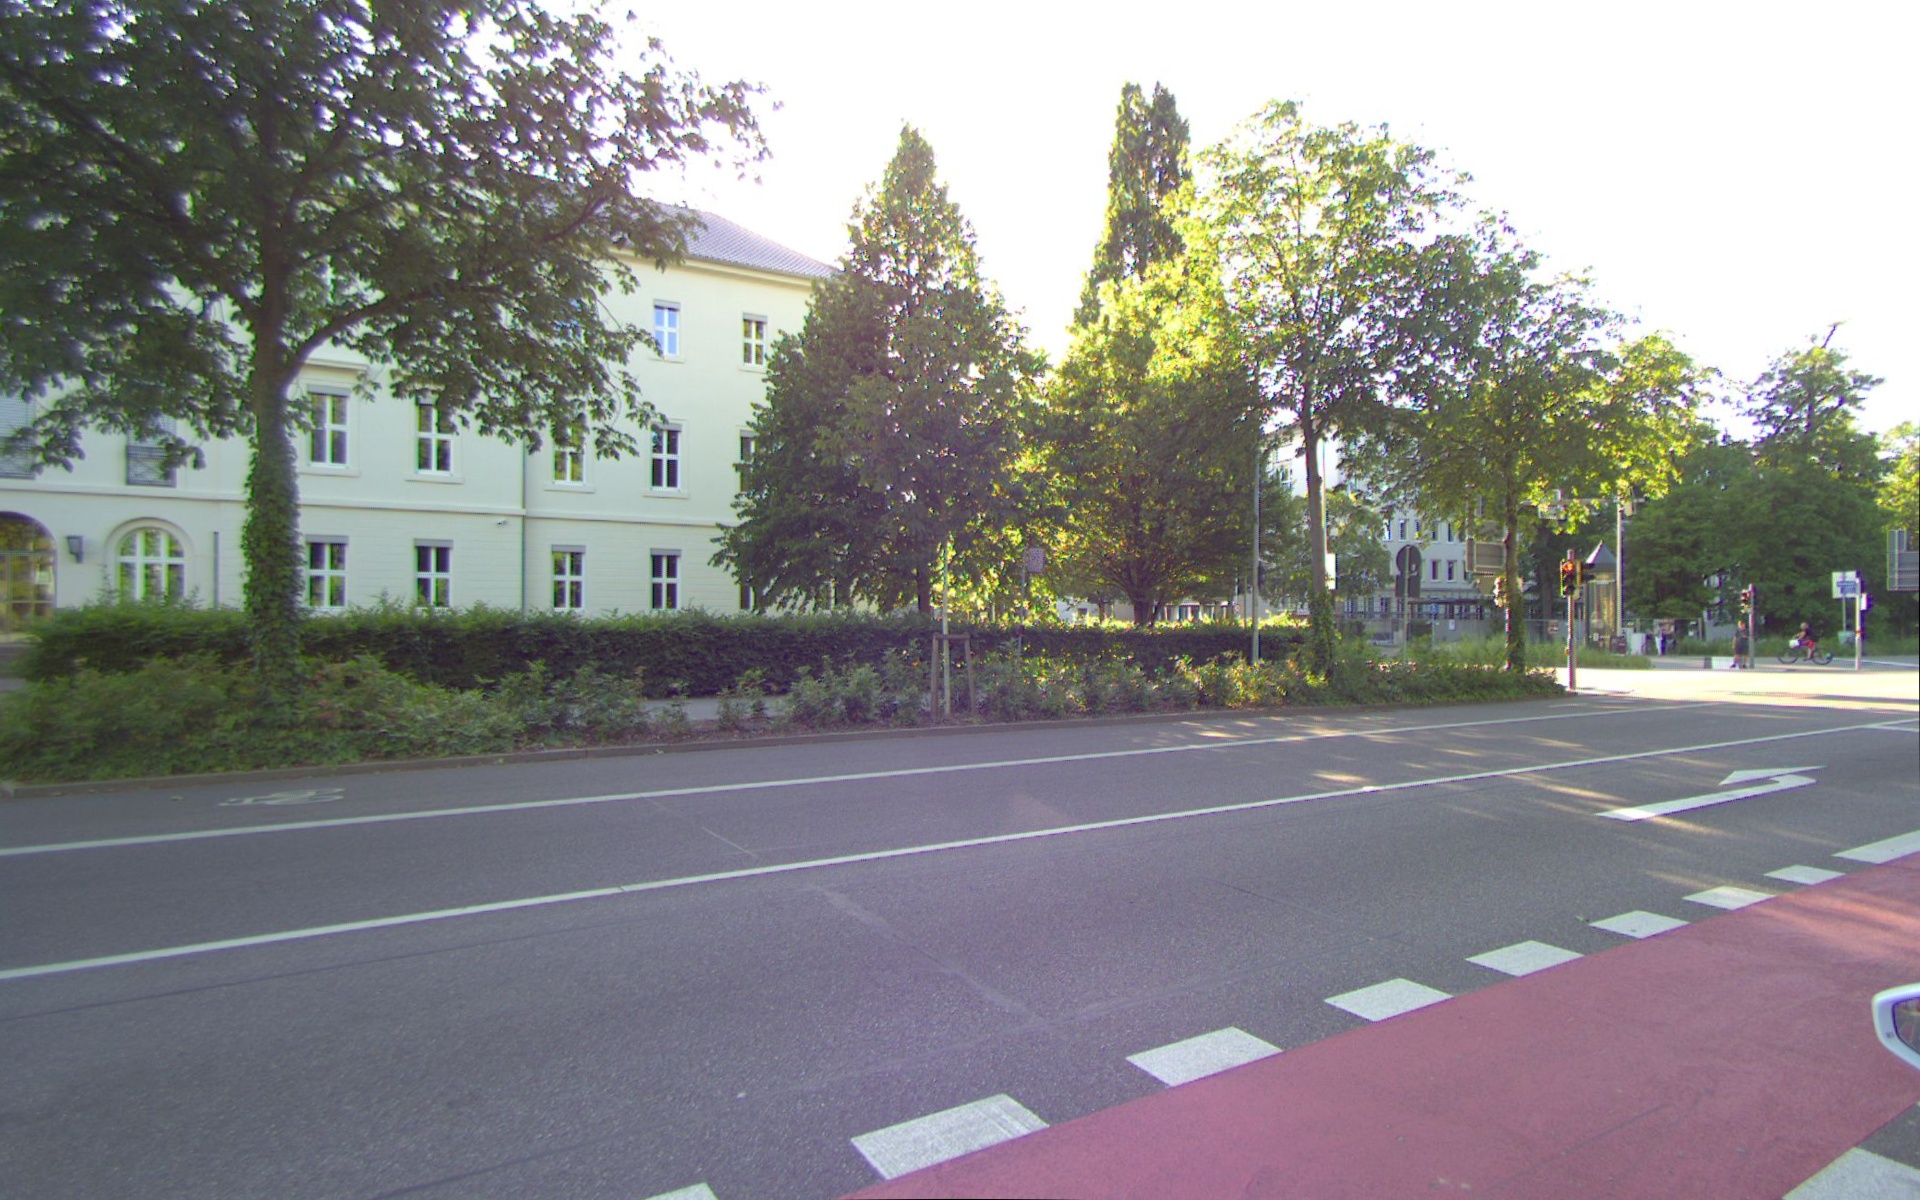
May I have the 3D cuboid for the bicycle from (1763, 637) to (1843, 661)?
[{"bbox_3d":[37.015,2.145,44.140,2.678,1.002,0.578,-2,-2,44],"label":"bicycle"}]

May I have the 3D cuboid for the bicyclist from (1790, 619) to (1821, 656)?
[{"bbox_3d":[37.096,1.645,44.075,0.964,1.627,0.873,-2,-2,44],"label":"bicyclist"}]

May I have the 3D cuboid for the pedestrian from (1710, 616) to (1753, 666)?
[{"bbox_3d":[32.338,1.723,42.093,1.175,2.040,0.992,1,0,-25],"label":"pedestrian"}]

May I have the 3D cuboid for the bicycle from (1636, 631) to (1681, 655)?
[{"bbox_3d":[35.270,2.161,50.725,0.288,1.163,1.849,1,0,-36],"label":"bicycle"}]

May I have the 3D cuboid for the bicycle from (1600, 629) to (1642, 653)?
[{"bbox_3d":[34.574,2.148,52.561,0.436,1.163,1.857,1,0,-23],"label":"bicycle"}]
